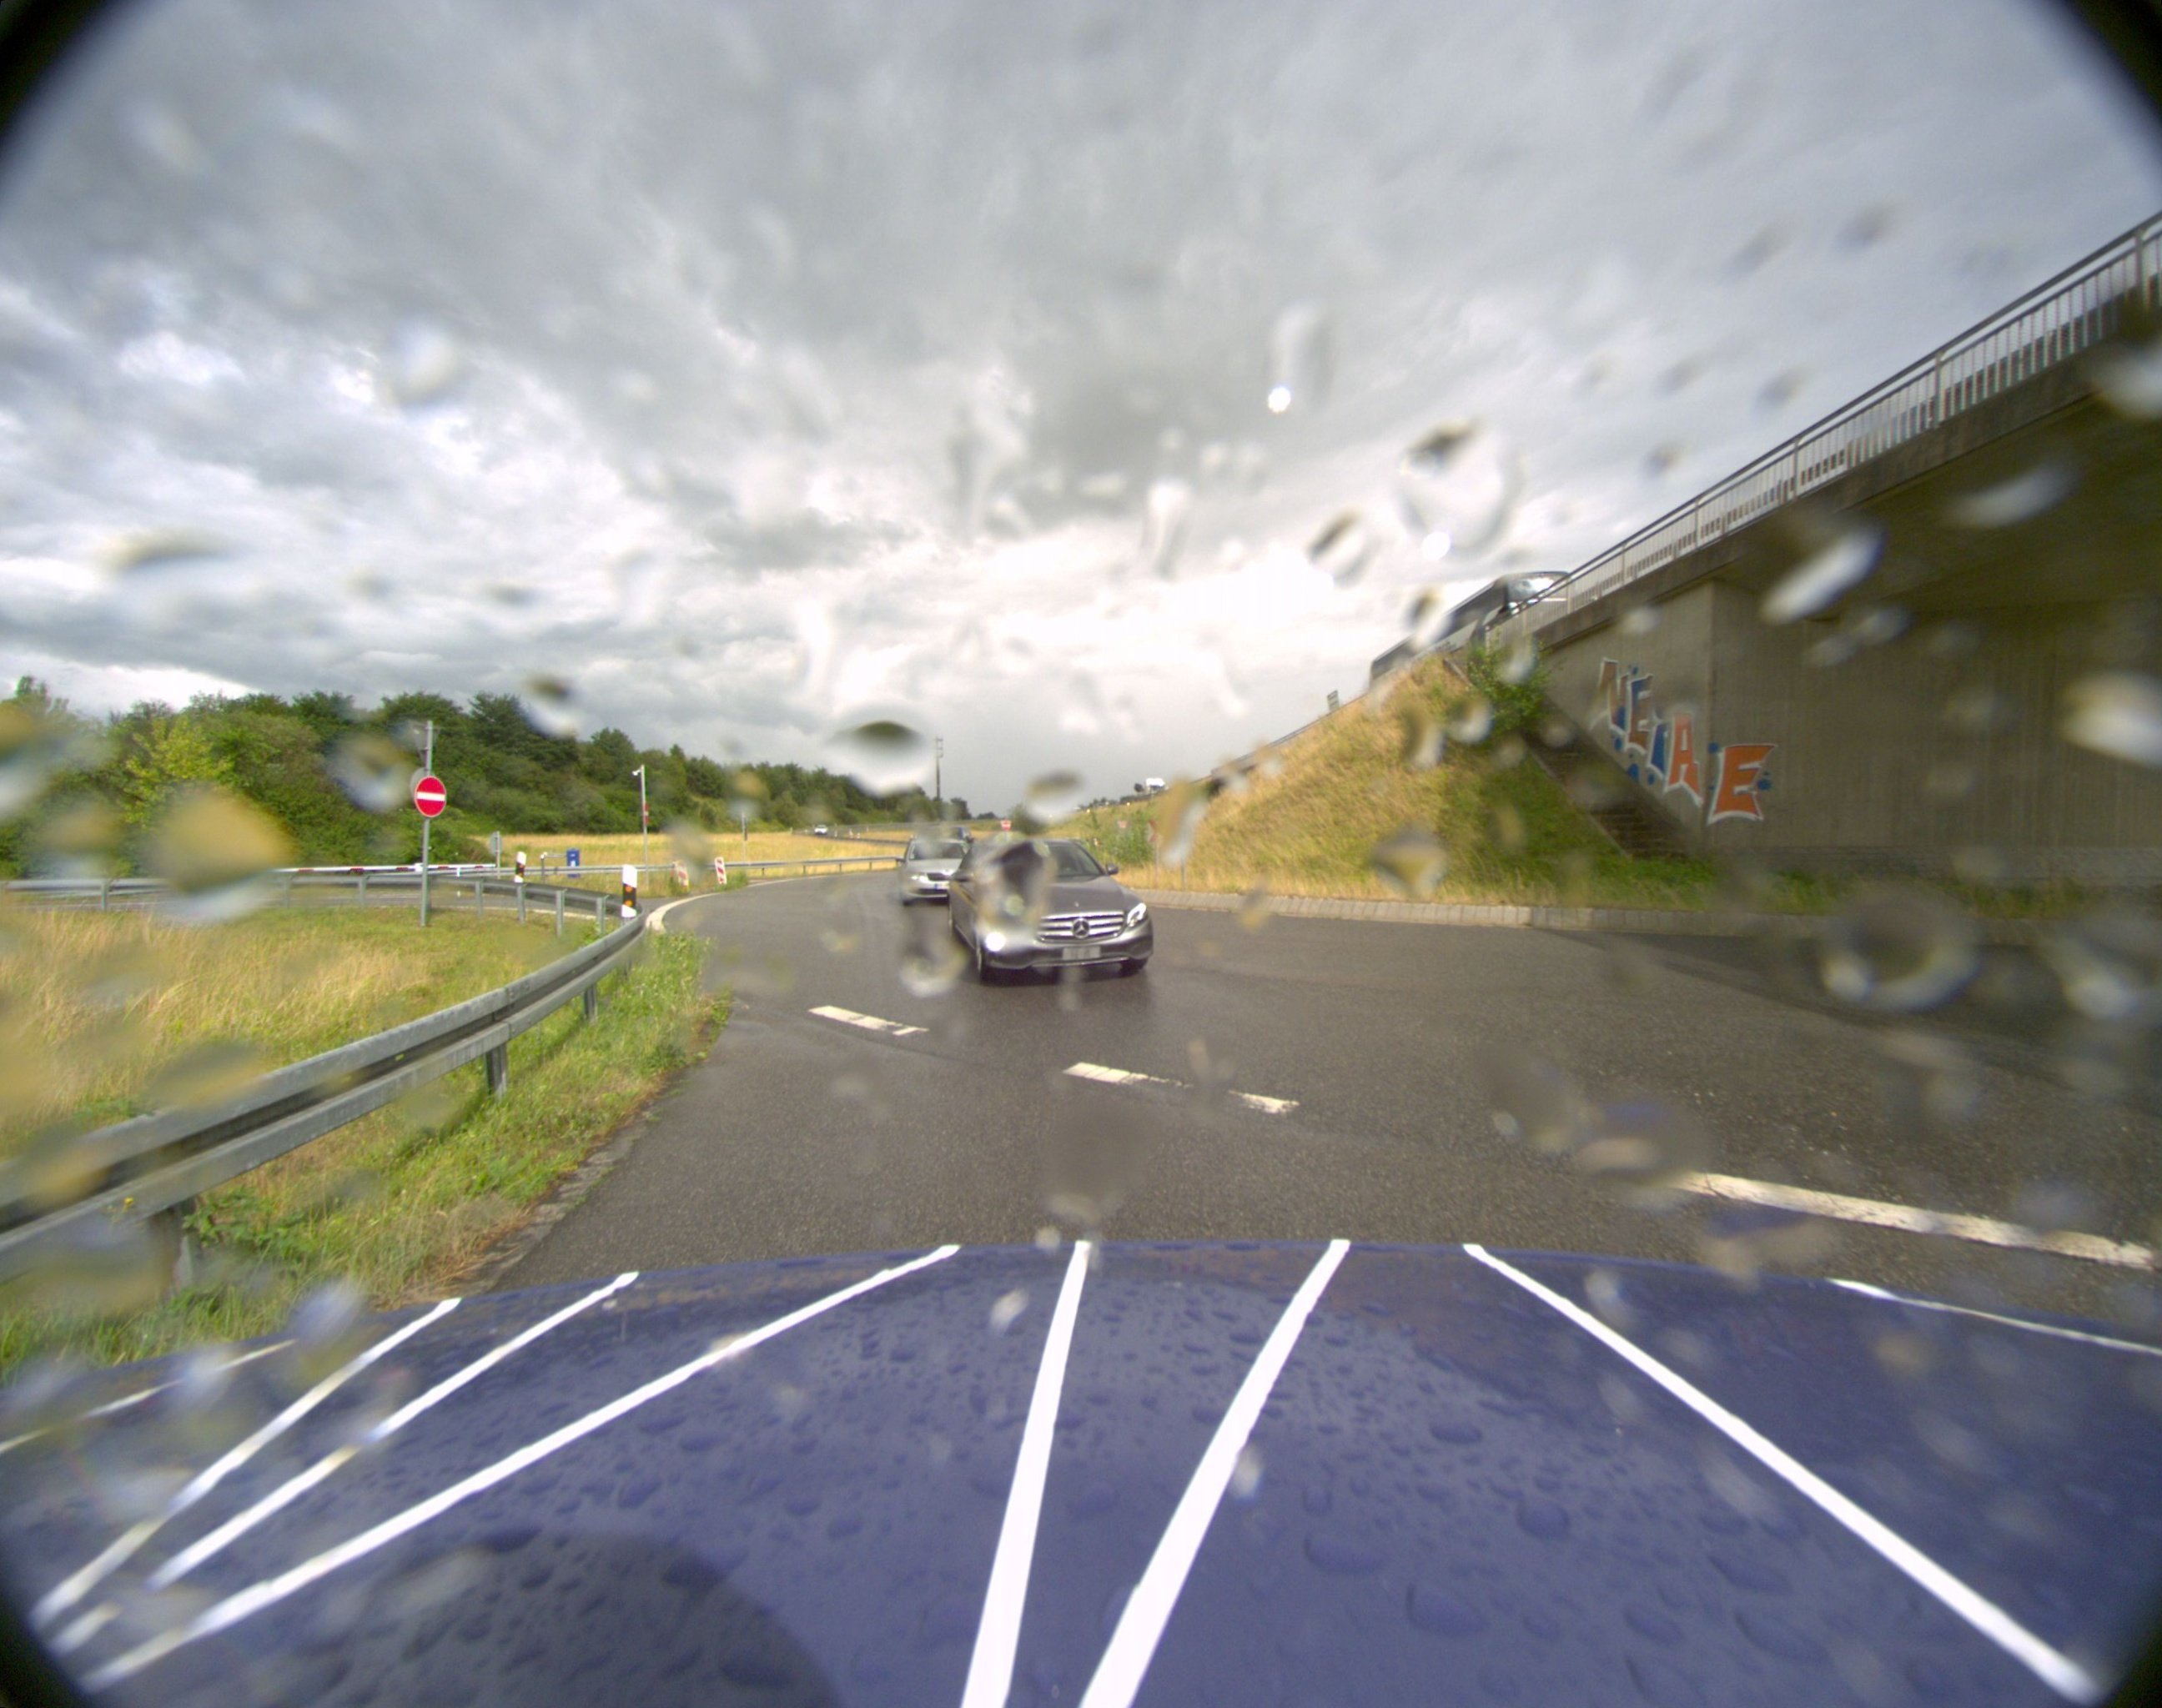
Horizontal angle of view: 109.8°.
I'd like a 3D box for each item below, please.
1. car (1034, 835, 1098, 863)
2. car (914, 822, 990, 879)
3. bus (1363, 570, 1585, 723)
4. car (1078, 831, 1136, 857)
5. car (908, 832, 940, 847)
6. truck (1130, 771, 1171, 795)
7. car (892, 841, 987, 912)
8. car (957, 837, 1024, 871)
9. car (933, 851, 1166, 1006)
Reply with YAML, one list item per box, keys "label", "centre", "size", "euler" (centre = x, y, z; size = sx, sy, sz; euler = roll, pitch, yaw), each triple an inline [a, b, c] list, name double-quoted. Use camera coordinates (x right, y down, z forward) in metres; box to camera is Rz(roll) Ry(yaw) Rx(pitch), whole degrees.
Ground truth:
- label: "car"
  centre: [-0.812, -0.319, 43.866]
  size: [1.568, 1.528, 3.936]
  euler: [1, 2, 37]
- label: "car"
  centre: [-4.870, -0.229, 29.632]
  size: [1.892, 1.905, 5.679]
  euler: [-1, 3, 0]
- label: "bus"
  centre: [15.788, -8.164, 32.557]
  size: [2.611, 3.063, 14.460]
  euler: [-2, 2, 2]
- label: "car"
  centre: [1.667, -0.628, 47.343]
  size: [1.568, 1.528, 3.936]
  euler: [1, 2, 39]
- label: "car"
  centre: [-17.483, -1.619, 84.504]
  size: [1.981, 1.528, 3.917]
  euler: [-2, 2, -38]
- label: "truck"
  centre: [10.973, -11.188, 120.680]
  size: [3.163, 3.177, 9.263]
  euler: [-3, 2, -16]
- label: "car"
  centre: [-3.409, 0.409, 17.693]
  size: [1.799, 1.390, 4.342]
  euler: [-1, 2, -15]
- label: "car"
  centre: [-4.097, -0.034, 34.987]
  size: [1.771, 1.476, 3.837]
  euler: [0, 1, 14]
- label: "car"
  centre: [-0.685, 0.675, 9.431]
  size: [1.773, 1.383, 4.584]
  euler: [-2, 1, -17]
